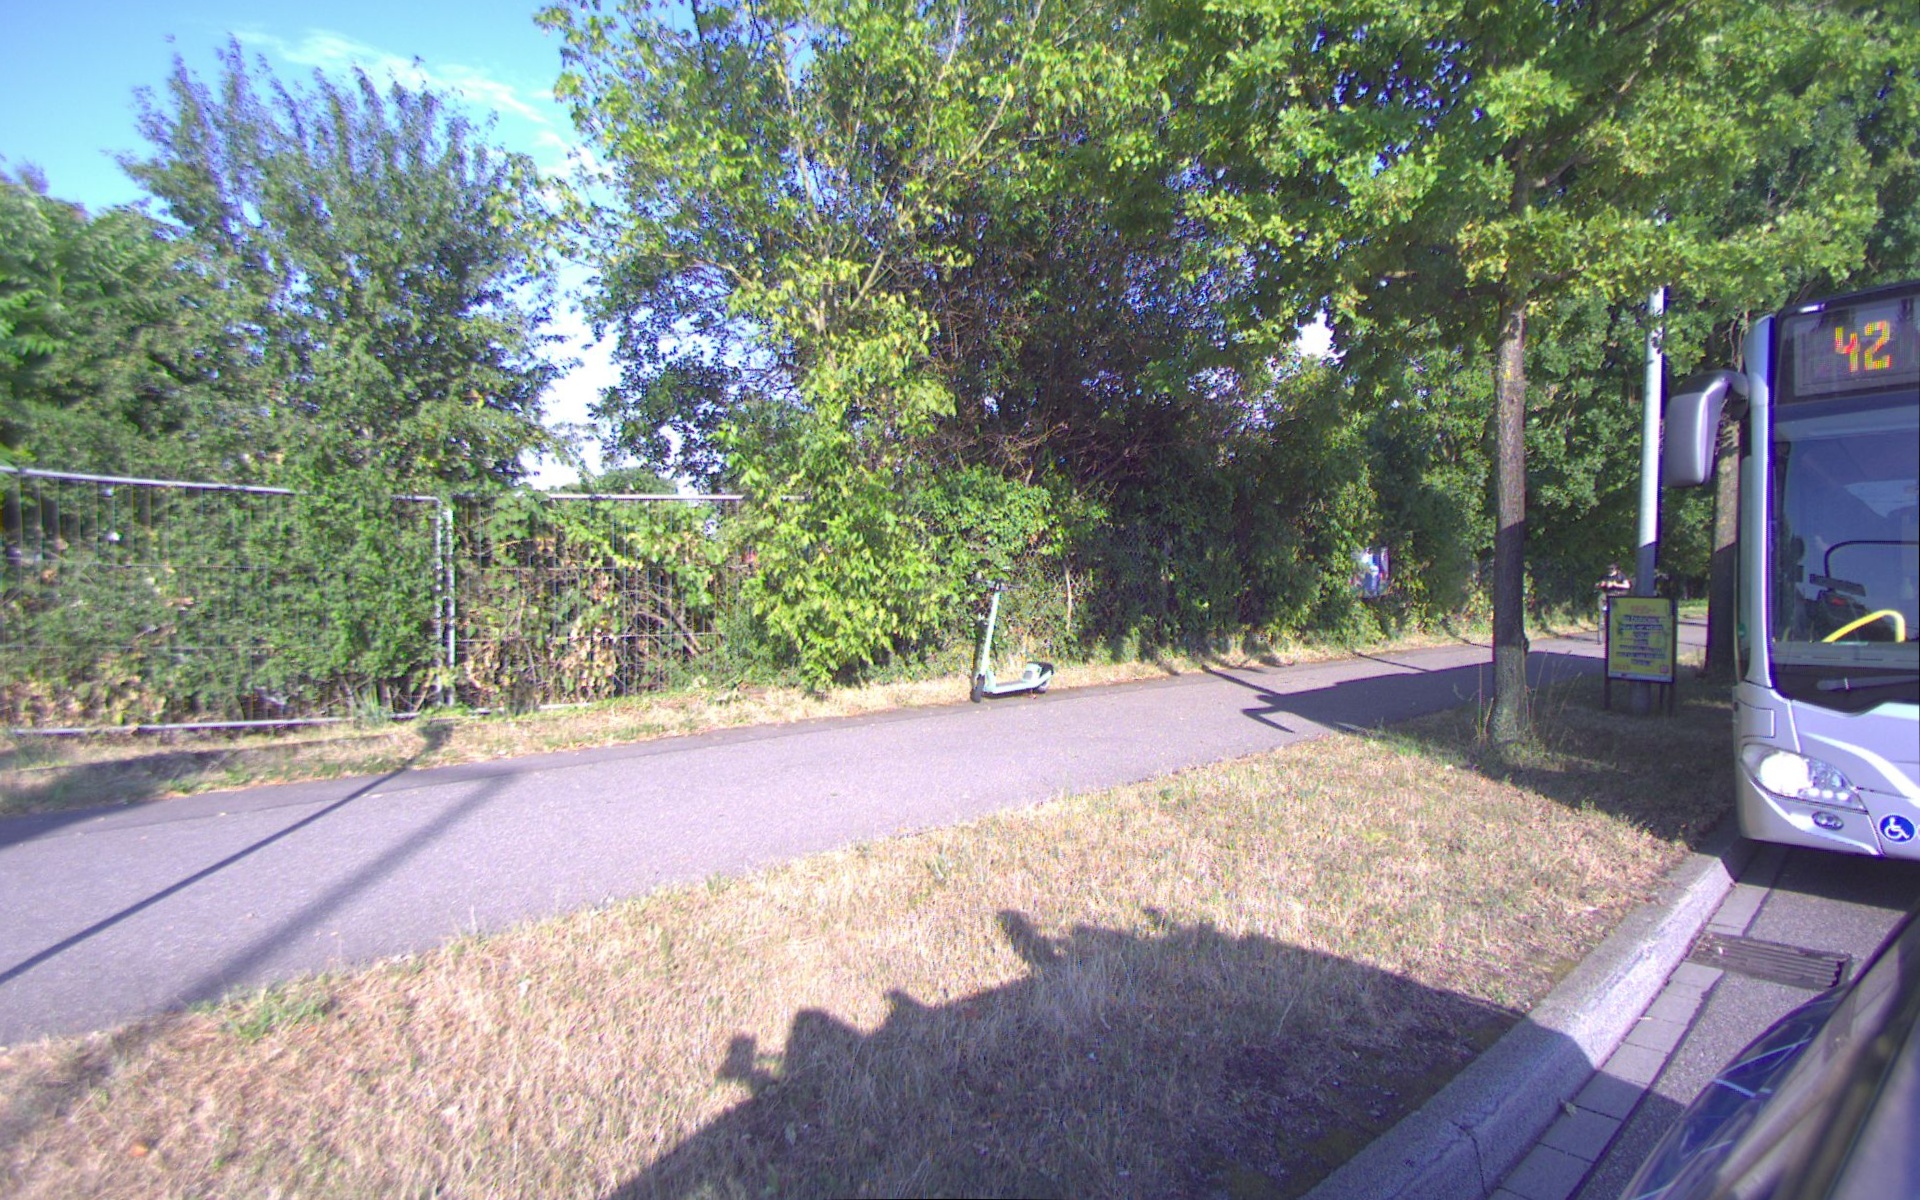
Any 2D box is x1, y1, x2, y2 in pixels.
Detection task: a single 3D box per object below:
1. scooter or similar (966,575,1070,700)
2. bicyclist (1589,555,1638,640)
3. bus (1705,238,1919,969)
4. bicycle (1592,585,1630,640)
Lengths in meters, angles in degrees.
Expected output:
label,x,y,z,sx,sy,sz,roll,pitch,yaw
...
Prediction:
label,x,y,z,sx,sy,sz,roll,pitch,yaw
scooter or similar,0.575,0.347,9.804,1.076,1.139,0.249,0,4,-41
bicyclist,14.902,-0.069,23.079,0.619,1.850,0.817,9,6,43
bus,8.506,-0.008,7.954,2.589,3.081,11.530,1,1,45
bicycle,14.849,0.272,23.068,0.414,1.172,1.863,5,3,40
